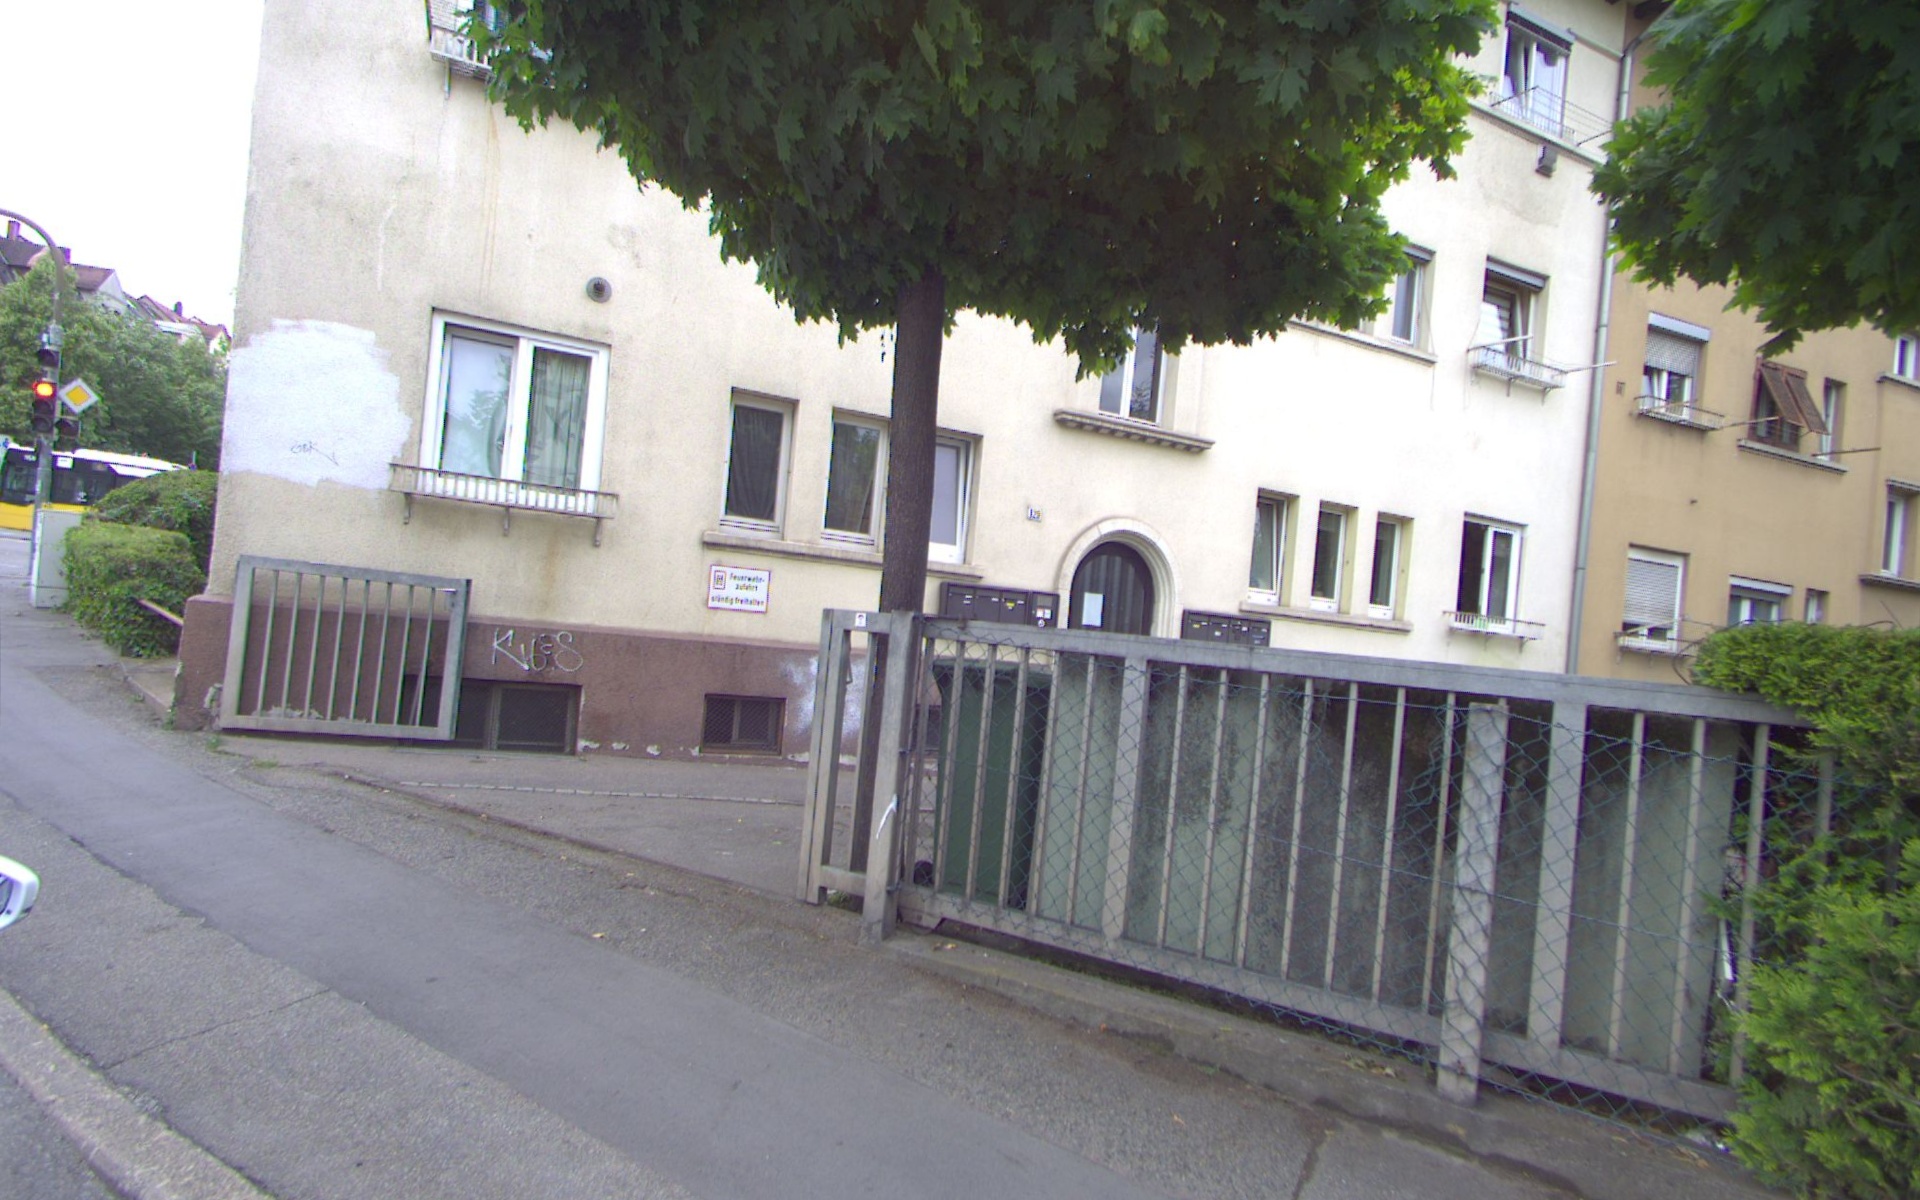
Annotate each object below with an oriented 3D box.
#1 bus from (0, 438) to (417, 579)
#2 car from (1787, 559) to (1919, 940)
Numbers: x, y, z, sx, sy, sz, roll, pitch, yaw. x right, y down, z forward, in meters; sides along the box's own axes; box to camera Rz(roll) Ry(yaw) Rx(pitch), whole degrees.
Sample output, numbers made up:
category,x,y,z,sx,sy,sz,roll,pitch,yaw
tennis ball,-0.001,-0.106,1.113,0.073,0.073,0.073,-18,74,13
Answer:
category,x,y,z,sx,sy,sz,roll,pitch,yaw
bus,-25.196,-2.950,33.592,11.935,3.135,3.164,6,0,-6
car,5.544,0.796,3.782,3.381,1.477,1.700,6,-2,30
